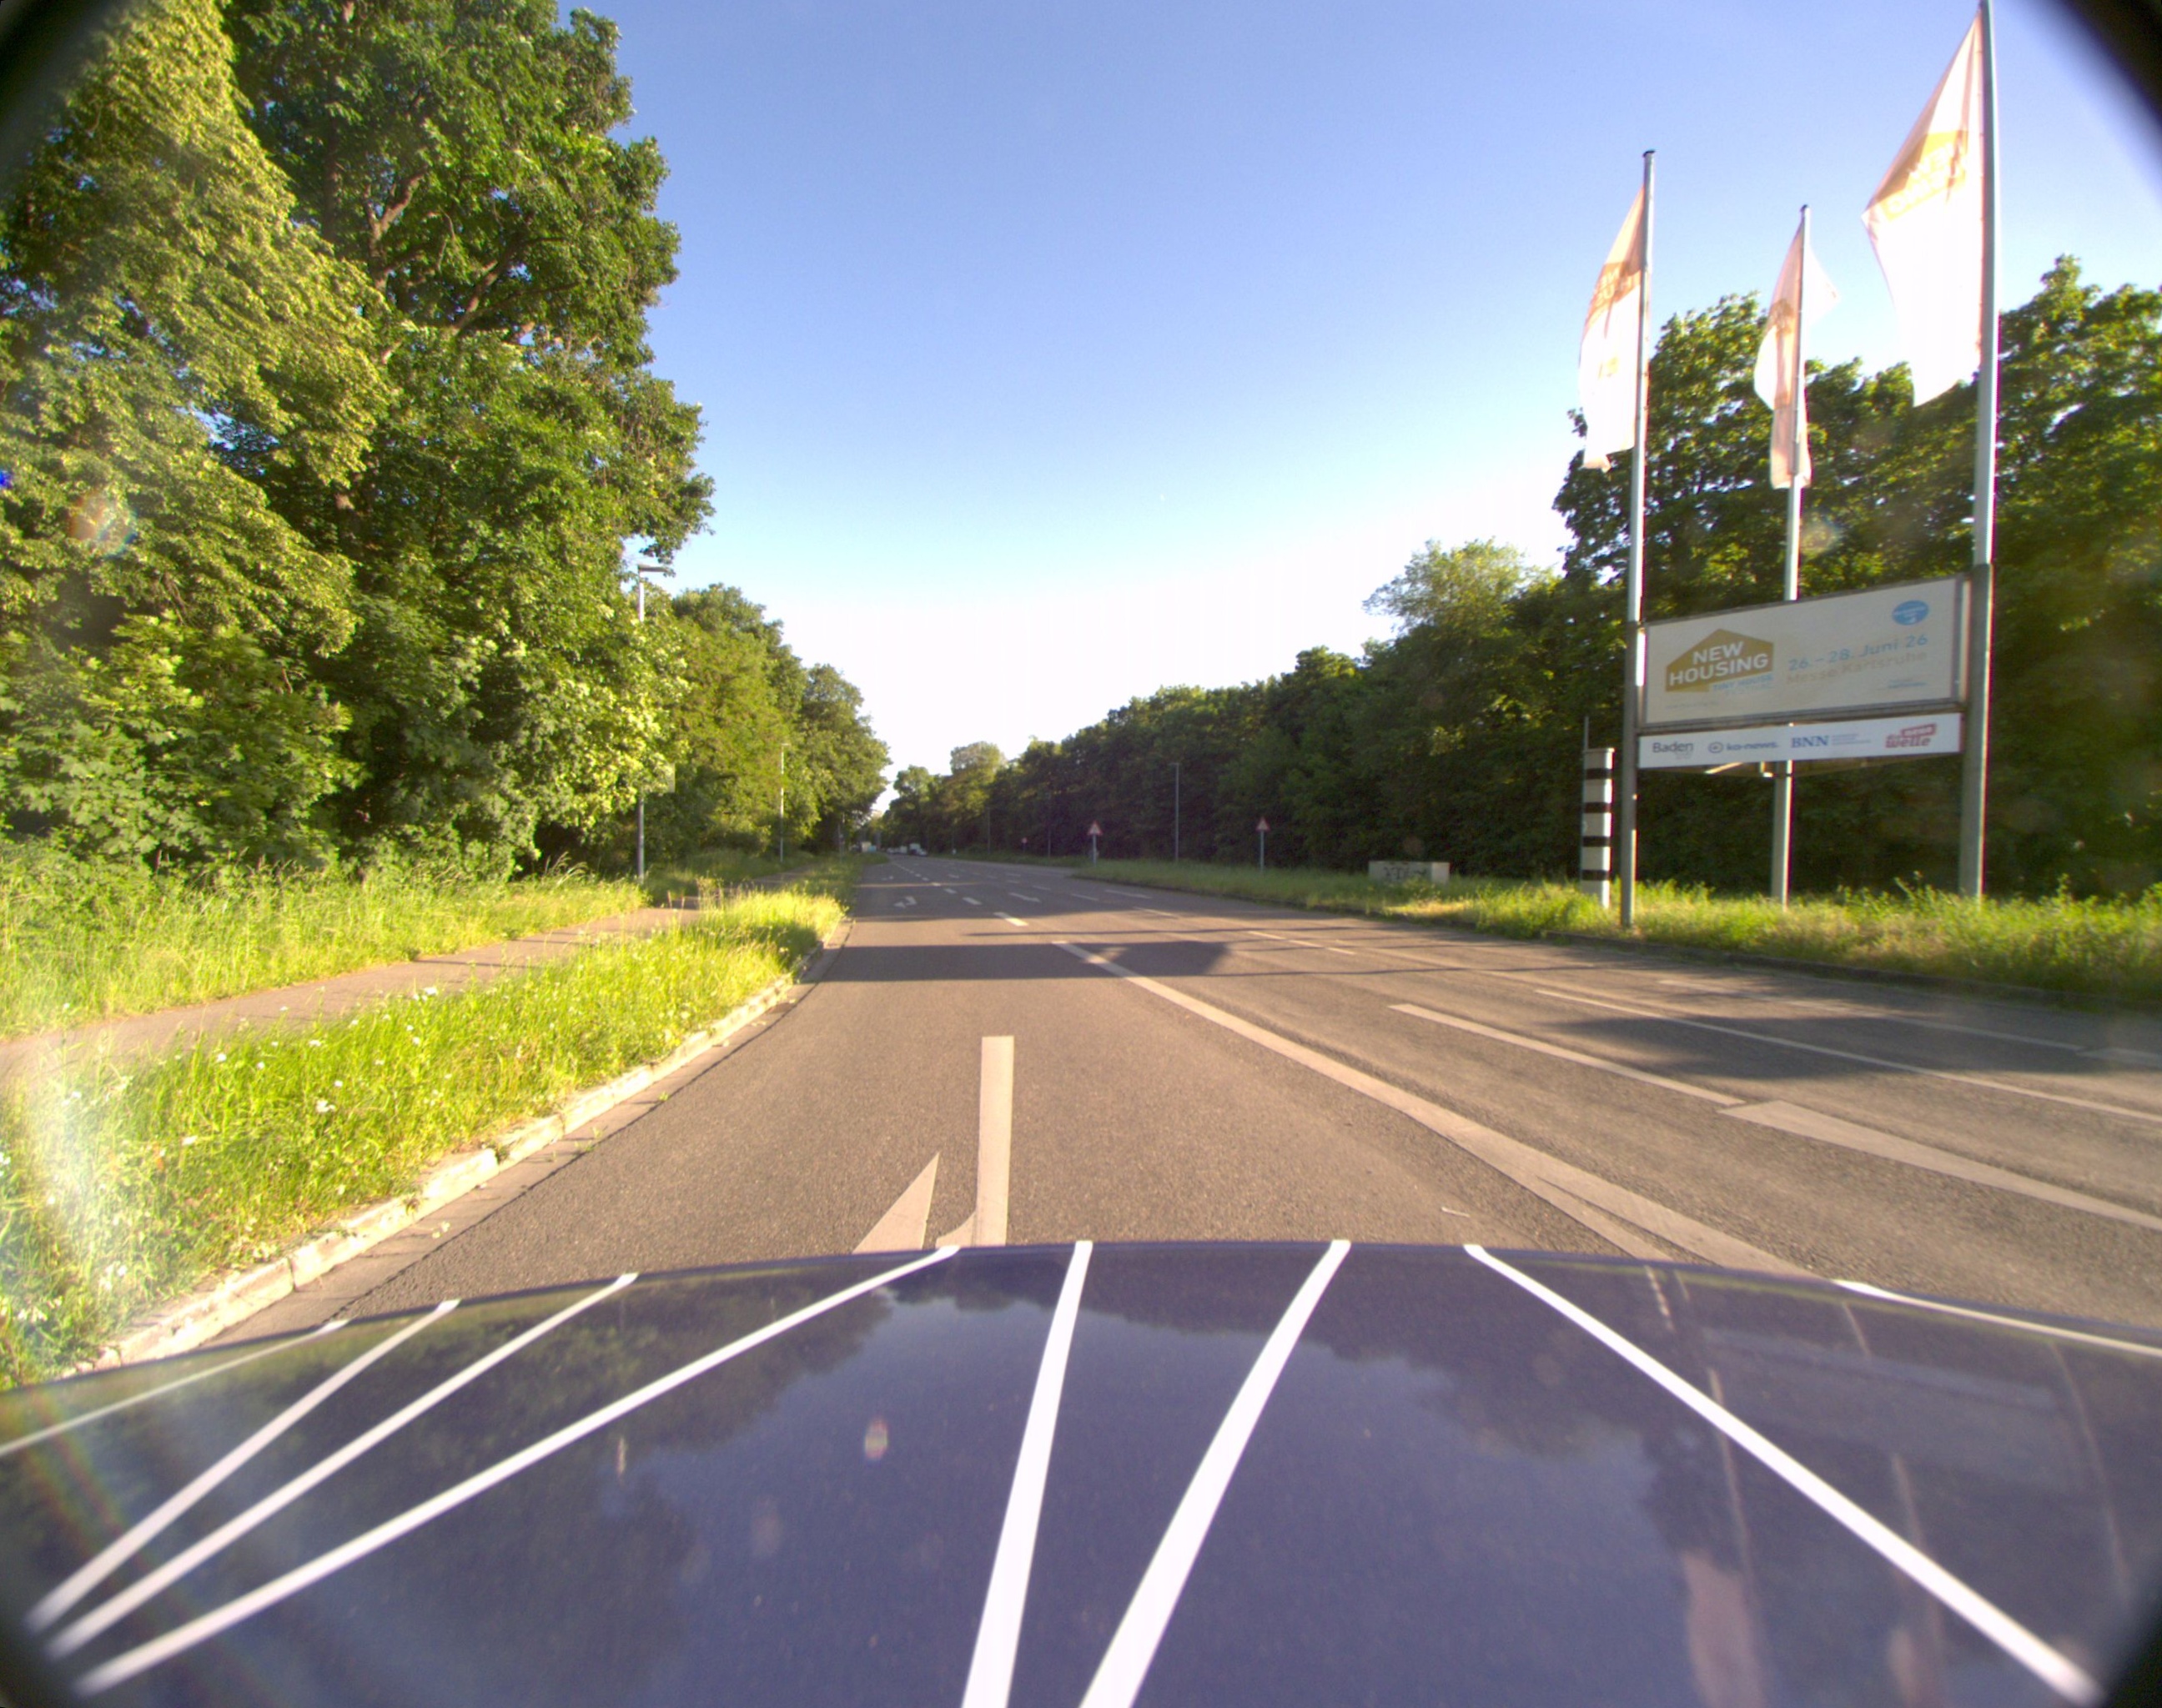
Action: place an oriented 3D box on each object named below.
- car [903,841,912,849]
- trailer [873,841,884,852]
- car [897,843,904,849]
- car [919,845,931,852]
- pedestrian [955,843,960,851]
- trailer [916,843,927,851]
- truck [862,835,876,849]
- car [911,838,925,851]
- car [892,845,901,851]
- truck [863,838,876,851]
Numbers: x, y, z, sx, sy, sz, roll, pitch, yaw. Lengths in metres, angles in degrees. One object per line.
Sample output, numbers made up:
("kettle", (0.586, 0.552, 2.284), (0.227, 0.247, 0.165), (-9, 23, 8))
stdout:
("car", (-48.228, -2.403, 211.085), (1.694, 2.089, 4.624), (1, 1, -19))
("trailer", (-41.881, -1.630, 156.807), (1.872, 2.166, 4.121), (-1, 2, -19))
("car", (-52.918, -2.375, 222.733), (1.809, 1.496, 3.905), (2, 1, -19))
("car", (-33.784, -1.277, 164.213), (1.918, 1.455, 4.004), (2, 1, -19))
("pedestrian", (-24.638, -1.382, 151.508), (0.714, 1.556, 0.825), (1, 1, -16))
("trailer", (-35.431, -1.477, 168.939), (1.809, 1.719, 3.641), (2, 1, -19))
("truck", (-50.986, -2.825, 182.313), (2.710, 3.219, 7.115), (1, 1, -19))
("car", (-38.784, -2.313, 180.761), (2.464, 2.831, 4.790), (1, 1, -19))
("car", (-48.257, -1.568, 198.437), (1.836, 1.447, 4.472), (0, 1, -20))
("truck", (-48.178, -2.190, 173.294), (2.393, 2.856, 5.588), (-2, 2, -19))
